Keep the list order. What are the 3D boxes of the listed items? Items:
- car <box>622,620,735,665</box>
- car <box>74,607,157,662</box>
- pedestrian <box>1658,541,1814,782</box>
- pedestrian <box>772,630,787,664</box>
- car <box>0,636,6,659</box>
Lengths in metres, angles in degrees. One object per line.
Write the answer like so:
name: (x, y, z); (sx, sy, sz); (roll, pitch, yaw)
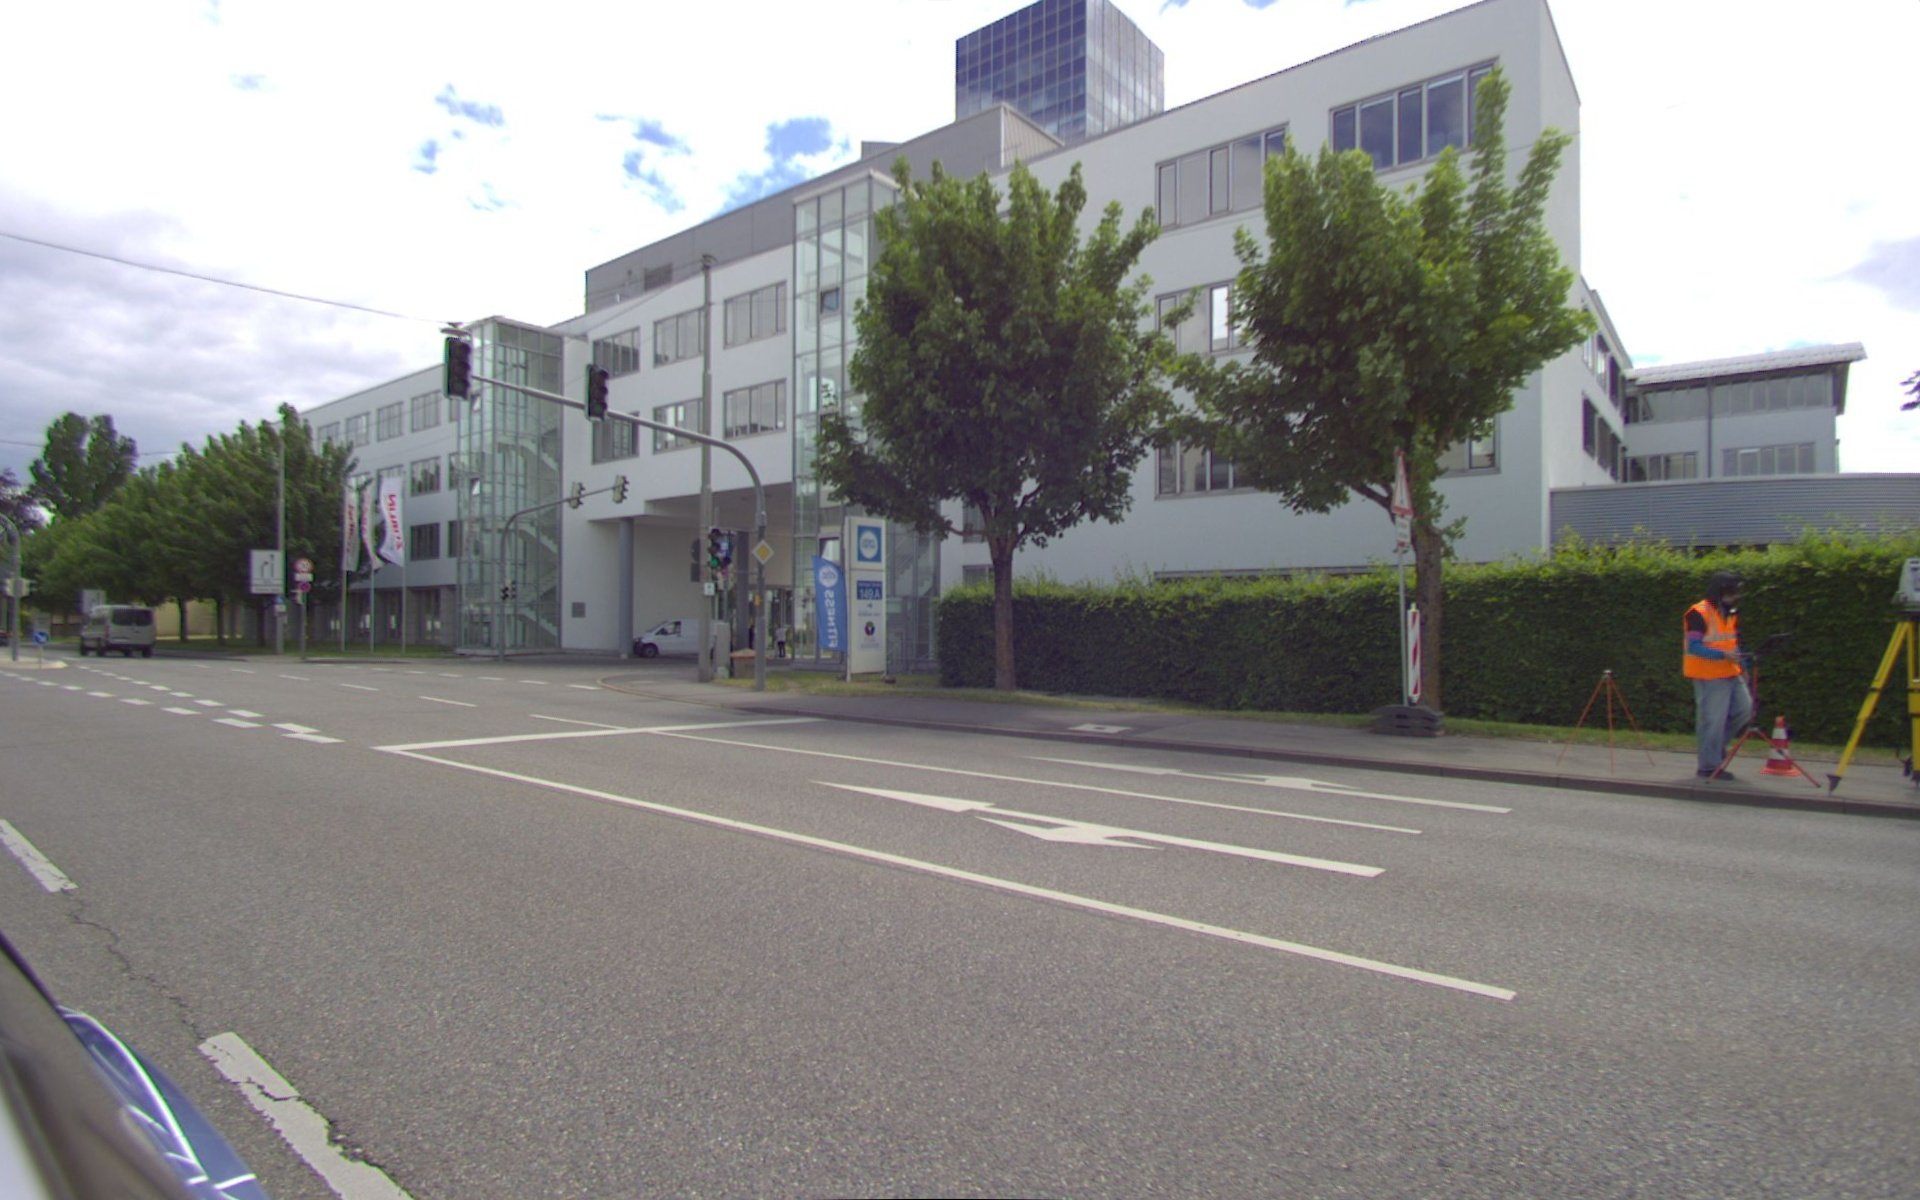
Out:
car: (-13.247, 1.990, 47.670); (4.751, 1.882, 2.091); (3, -1, -26)
car: (-41.284, 1.685, 49.421); (6.070, 2.491, 2.120); (-1, -3, 42)
pedestrian: (6.877, 0.513, 9.006); (0.715, 2.029, 0.812); (-1, 0, -7)
pedestrian: (-9.054, 2.366, 50.792); (0.486, 1.674, 0.506); (-1, 0, 36)
car: (-70.715, 3.401, 73.437); (4.540, 1.564, 1.864); (0, -2, 43)
